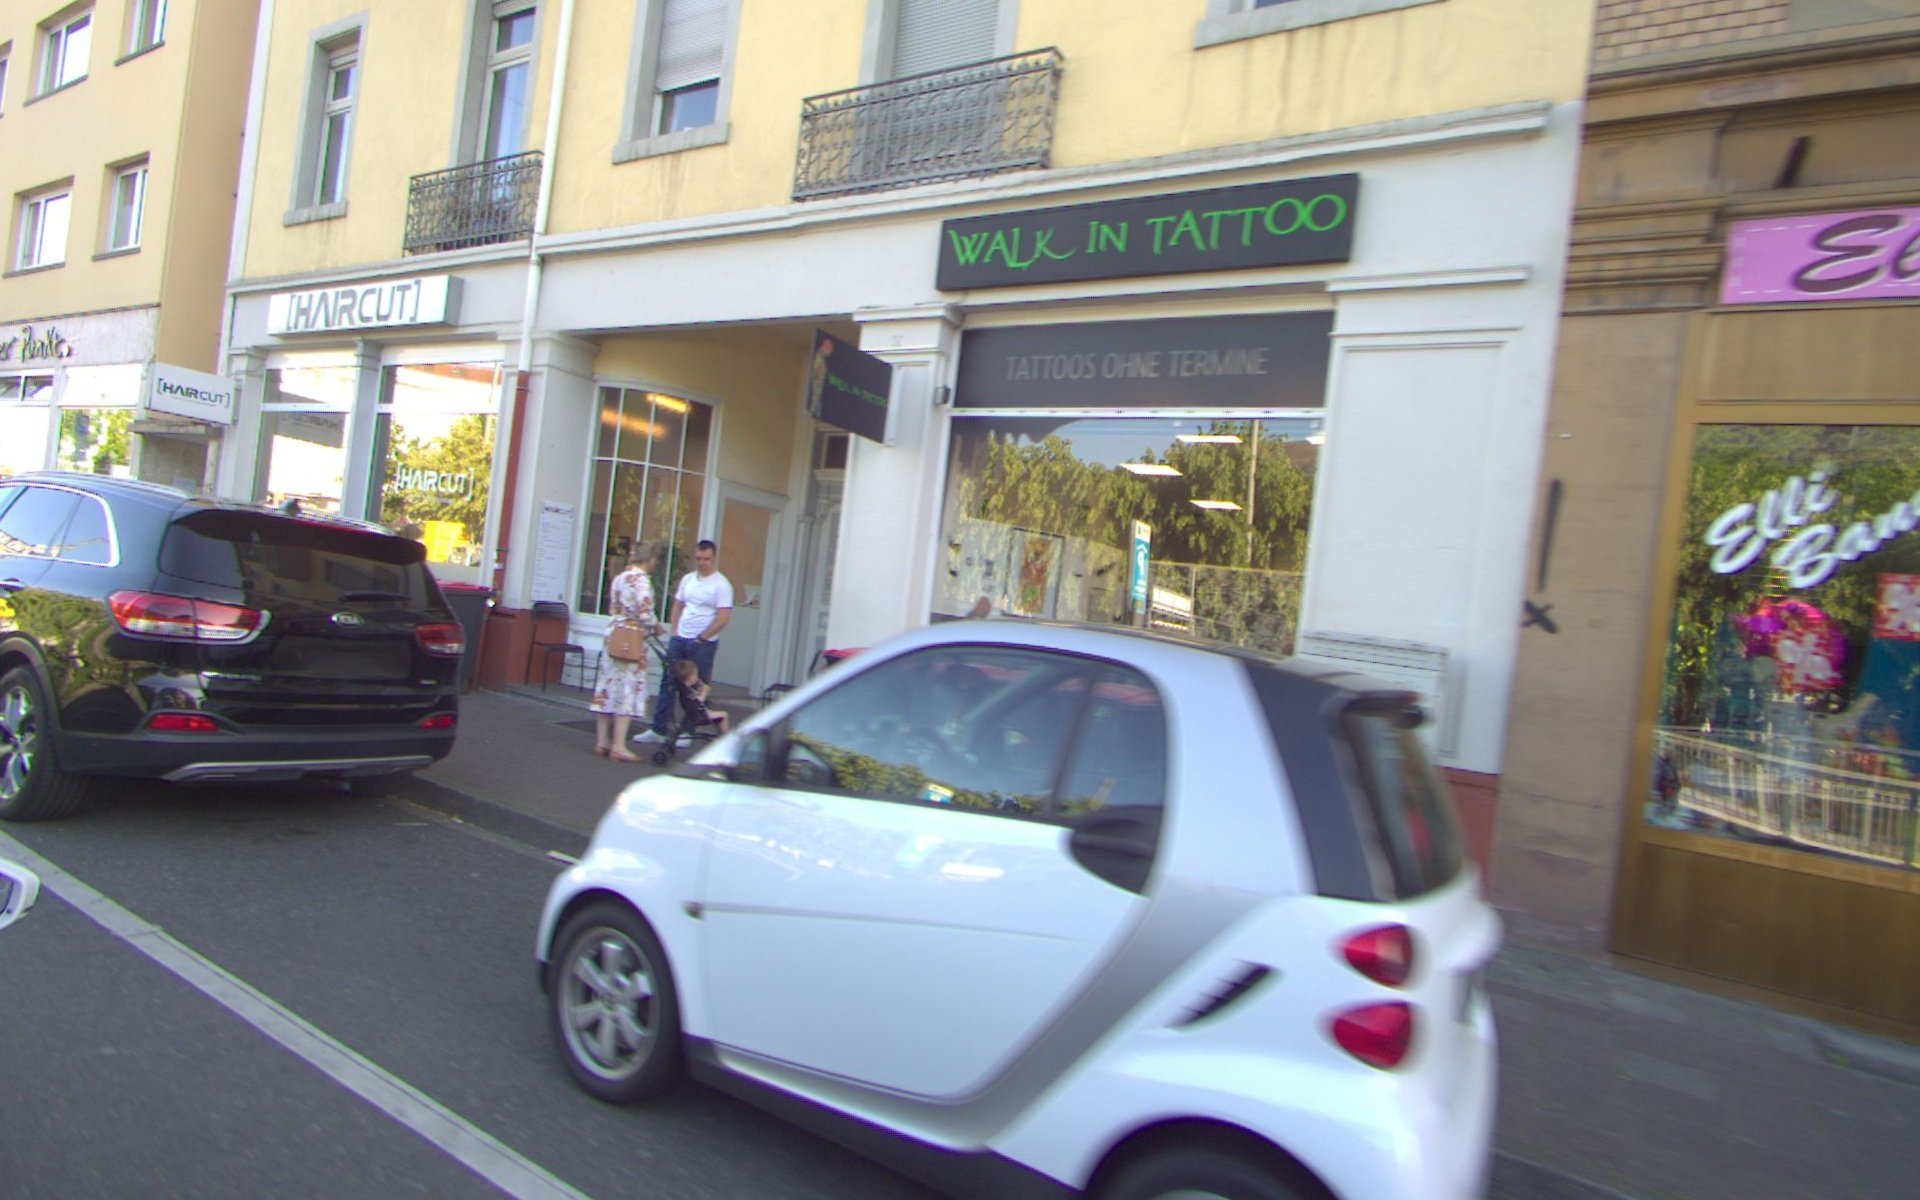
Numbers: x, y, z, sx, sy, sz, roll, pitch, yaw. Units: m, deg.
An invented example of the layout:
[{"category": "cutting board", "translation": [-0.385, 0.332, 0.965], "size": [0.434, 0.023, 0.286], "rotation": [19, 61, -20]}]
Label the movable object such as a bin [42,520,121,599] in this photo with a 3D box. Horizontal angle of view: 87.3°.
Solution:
[{"category": "movable object such as a bin", "translation": [-13.102, -0.596, 15.008], "size": [0.609, 1.082, 0.703], "rotation": [7, 2, 32]}]

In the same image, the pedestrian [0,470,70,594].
[{"category": "pedestrian", "translation": [-13.154, -0.950, 14.223], "size": [0.618, 1.654, 0.662], "rotation": [7, 2, 36]}]

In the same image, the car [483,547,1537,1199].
[{"category": "car", "translation": [0.063, 0.793, 3.035], "size": [2.748, 1.536, 1.274], "rotation": [7, -1, 31]}]

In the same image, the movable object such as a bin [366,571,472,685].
[{"category": "movable object such as a bin", "translation": [-5.411, 0.280, 10.069], "size": [0.610, 1.055, 0.659], "rotation": [7, 2, 34]}]

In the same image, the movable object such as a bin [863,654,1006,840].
[{"category": "movable object such as a bin", "translation": [-0.163, 0.934, 6.650], "size": [0.609, 1.080, 0.605], "rotation": [7, 2, 32]}]

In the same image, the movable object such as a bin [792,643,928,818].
[{"category": "movable object such as a bin", "translation": [-0.690, 0.875, 7.003], "size": [0.609, 1.080, 0.605], "rotation": [7, 2, 32]}]

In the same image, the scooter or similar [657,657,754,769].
[{"category": "scooter or similar", "translation": [-1.943, 0.856, 7.667], "size": [0.524, 0.768, 0.465], "rotation": [5, 1, -36]}]

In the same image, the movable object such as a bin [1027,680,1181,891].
[{"category": "movable object such as a bin", "translation": [0.863, 1.061, 5.988], "size": [0.609, 1.080, 0.605], "rotation": [7, 2, 32]}]

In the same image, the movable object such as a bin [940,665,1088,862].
[{"category": "movable object such as a bin", "translation": [0.343, 0.990, 6.324], "size": [0.609, 1.080, 0.605], "rotation": [7, 2, 32]}]

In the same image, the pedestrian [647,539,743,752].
[{"category": "pedestrian", "translation": [-2.189, 0.371, 8.324], "size": [0.514, 1.681, 0.338], "rotation": [7, 1, 2]}]

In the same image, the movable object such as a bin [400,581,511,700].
[{"category": "movable object such as a bin", "translation": [-4.819, 0.380, 9.617], "size": [0.609, 1.038, 0.667], "rotation": [7, 2, 34]}]

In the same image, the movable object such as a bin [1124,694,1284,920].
[{"category": "movable object such as a bin", "translation": [1.381, 1.120, 5.659], "size": [0.609, 1.080, 0.605], "rotation": [7, 2, 32]}]

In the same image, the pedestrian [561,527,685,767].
[{"category": "pedestrian", "translation": [-2.508, 0.341, 7.493], "size": [0.583, 1.681, 0.450], "rotation": [7, 1, 33]}]

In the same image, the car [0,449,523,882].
[{"category": "car", "translation": [-4.972, 0.142, 6.031], "size": [4.493, 1.757, 1.759], "rotation": [7, -1, 28]}]

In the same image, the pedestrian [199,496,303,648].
[{"category": "pedestrian", "translation": [-8.197, -0.311, 11.644], "size": [0.523, 1.653, 0.697], "rotation": [7, 1, 30]}]

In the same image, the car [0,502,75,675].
[{"category": "car", "translation": [-10.306, -0.364, 9.384], "size": [4.389, 1.464, 1.742], "rotation": [7, -1, 31]}]

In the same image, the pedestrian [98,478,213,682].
[{"category": "pedestrian", "translation": [-7.404, -0.170, 9.280], "size": [0.473, 1.783, 0.435], "rotation": [7, -1, -3]}]
